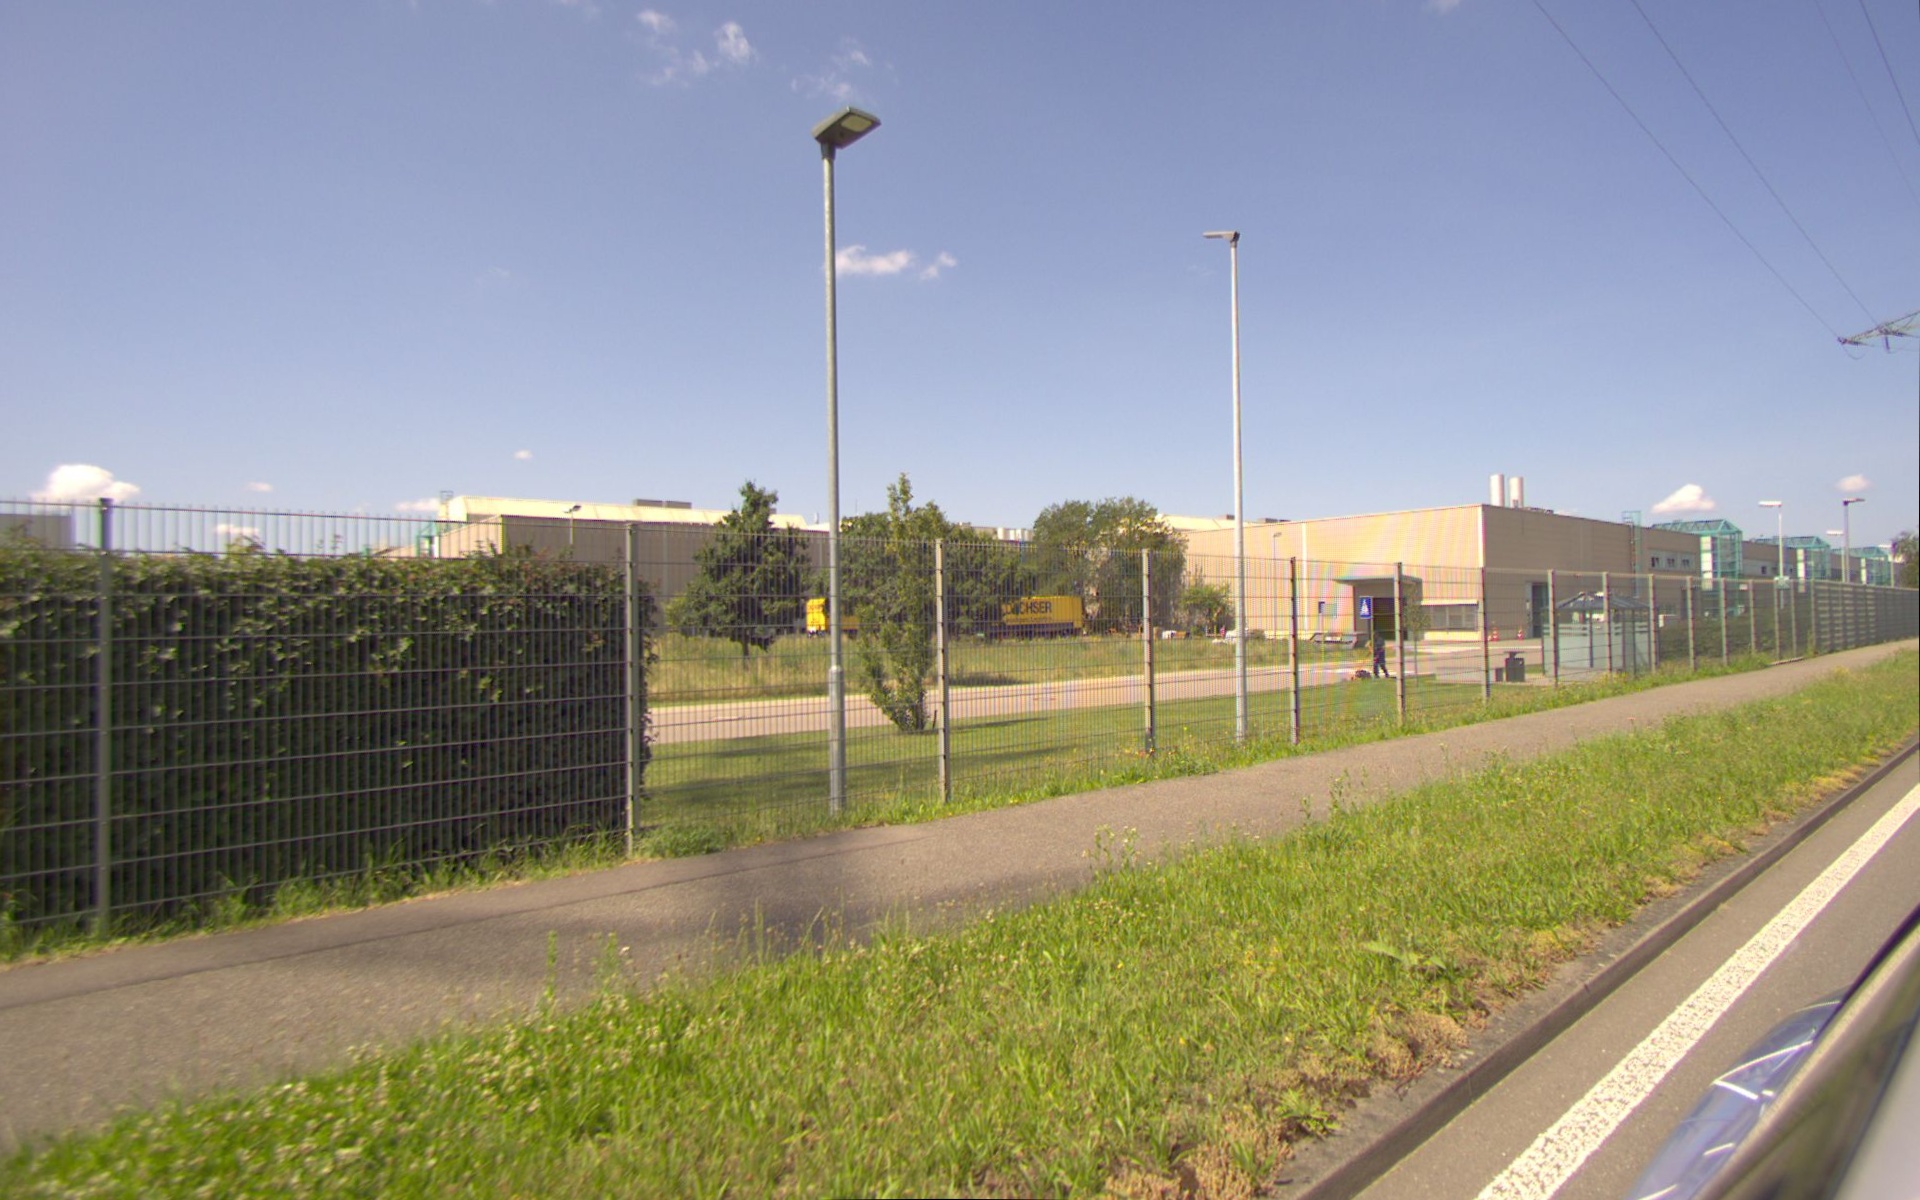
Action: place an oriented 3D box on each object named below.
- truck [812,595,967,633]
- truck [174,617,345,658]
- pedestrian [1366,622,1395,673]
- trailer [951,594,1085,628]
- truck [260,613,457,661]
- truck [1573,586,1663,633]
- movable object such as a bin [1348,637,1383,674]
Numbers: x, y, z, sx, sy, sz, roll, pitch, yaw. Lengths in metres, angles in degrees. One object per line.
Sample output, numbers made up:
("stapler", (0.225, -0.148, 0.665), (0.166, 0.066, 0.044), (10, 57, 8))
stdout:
("truck", (-5.244, 1.000, 79.408), (13.493, 2.747, 1.998), (-1, 0, -40))
("truck", (-58.571, 3.087, 84.972), (11.642, 3.178, 1.997), (0, -2, -40))
("pedestrian", (14.939, 1.683, 35.971), (0.778, 1.752, 0.592), (0, -3, -40))
("trailer", (5.267, 0.887, 87.994), (13.841, 2.747, 1.998), (-1, 0, -38))
("truck", (-41.565, 2.513, 70.426), (11.642, 3.000, 1.997), (0, -2, -40))
("truck", (55.249, 0.696, 84.830), (11.466, 3.788, 2.863), (-1, 0, -39))
("movable object such as a bin", (14.143, 1.927, 35.255), (1.540, 1.201, 0.420), (0, -3, -40))
